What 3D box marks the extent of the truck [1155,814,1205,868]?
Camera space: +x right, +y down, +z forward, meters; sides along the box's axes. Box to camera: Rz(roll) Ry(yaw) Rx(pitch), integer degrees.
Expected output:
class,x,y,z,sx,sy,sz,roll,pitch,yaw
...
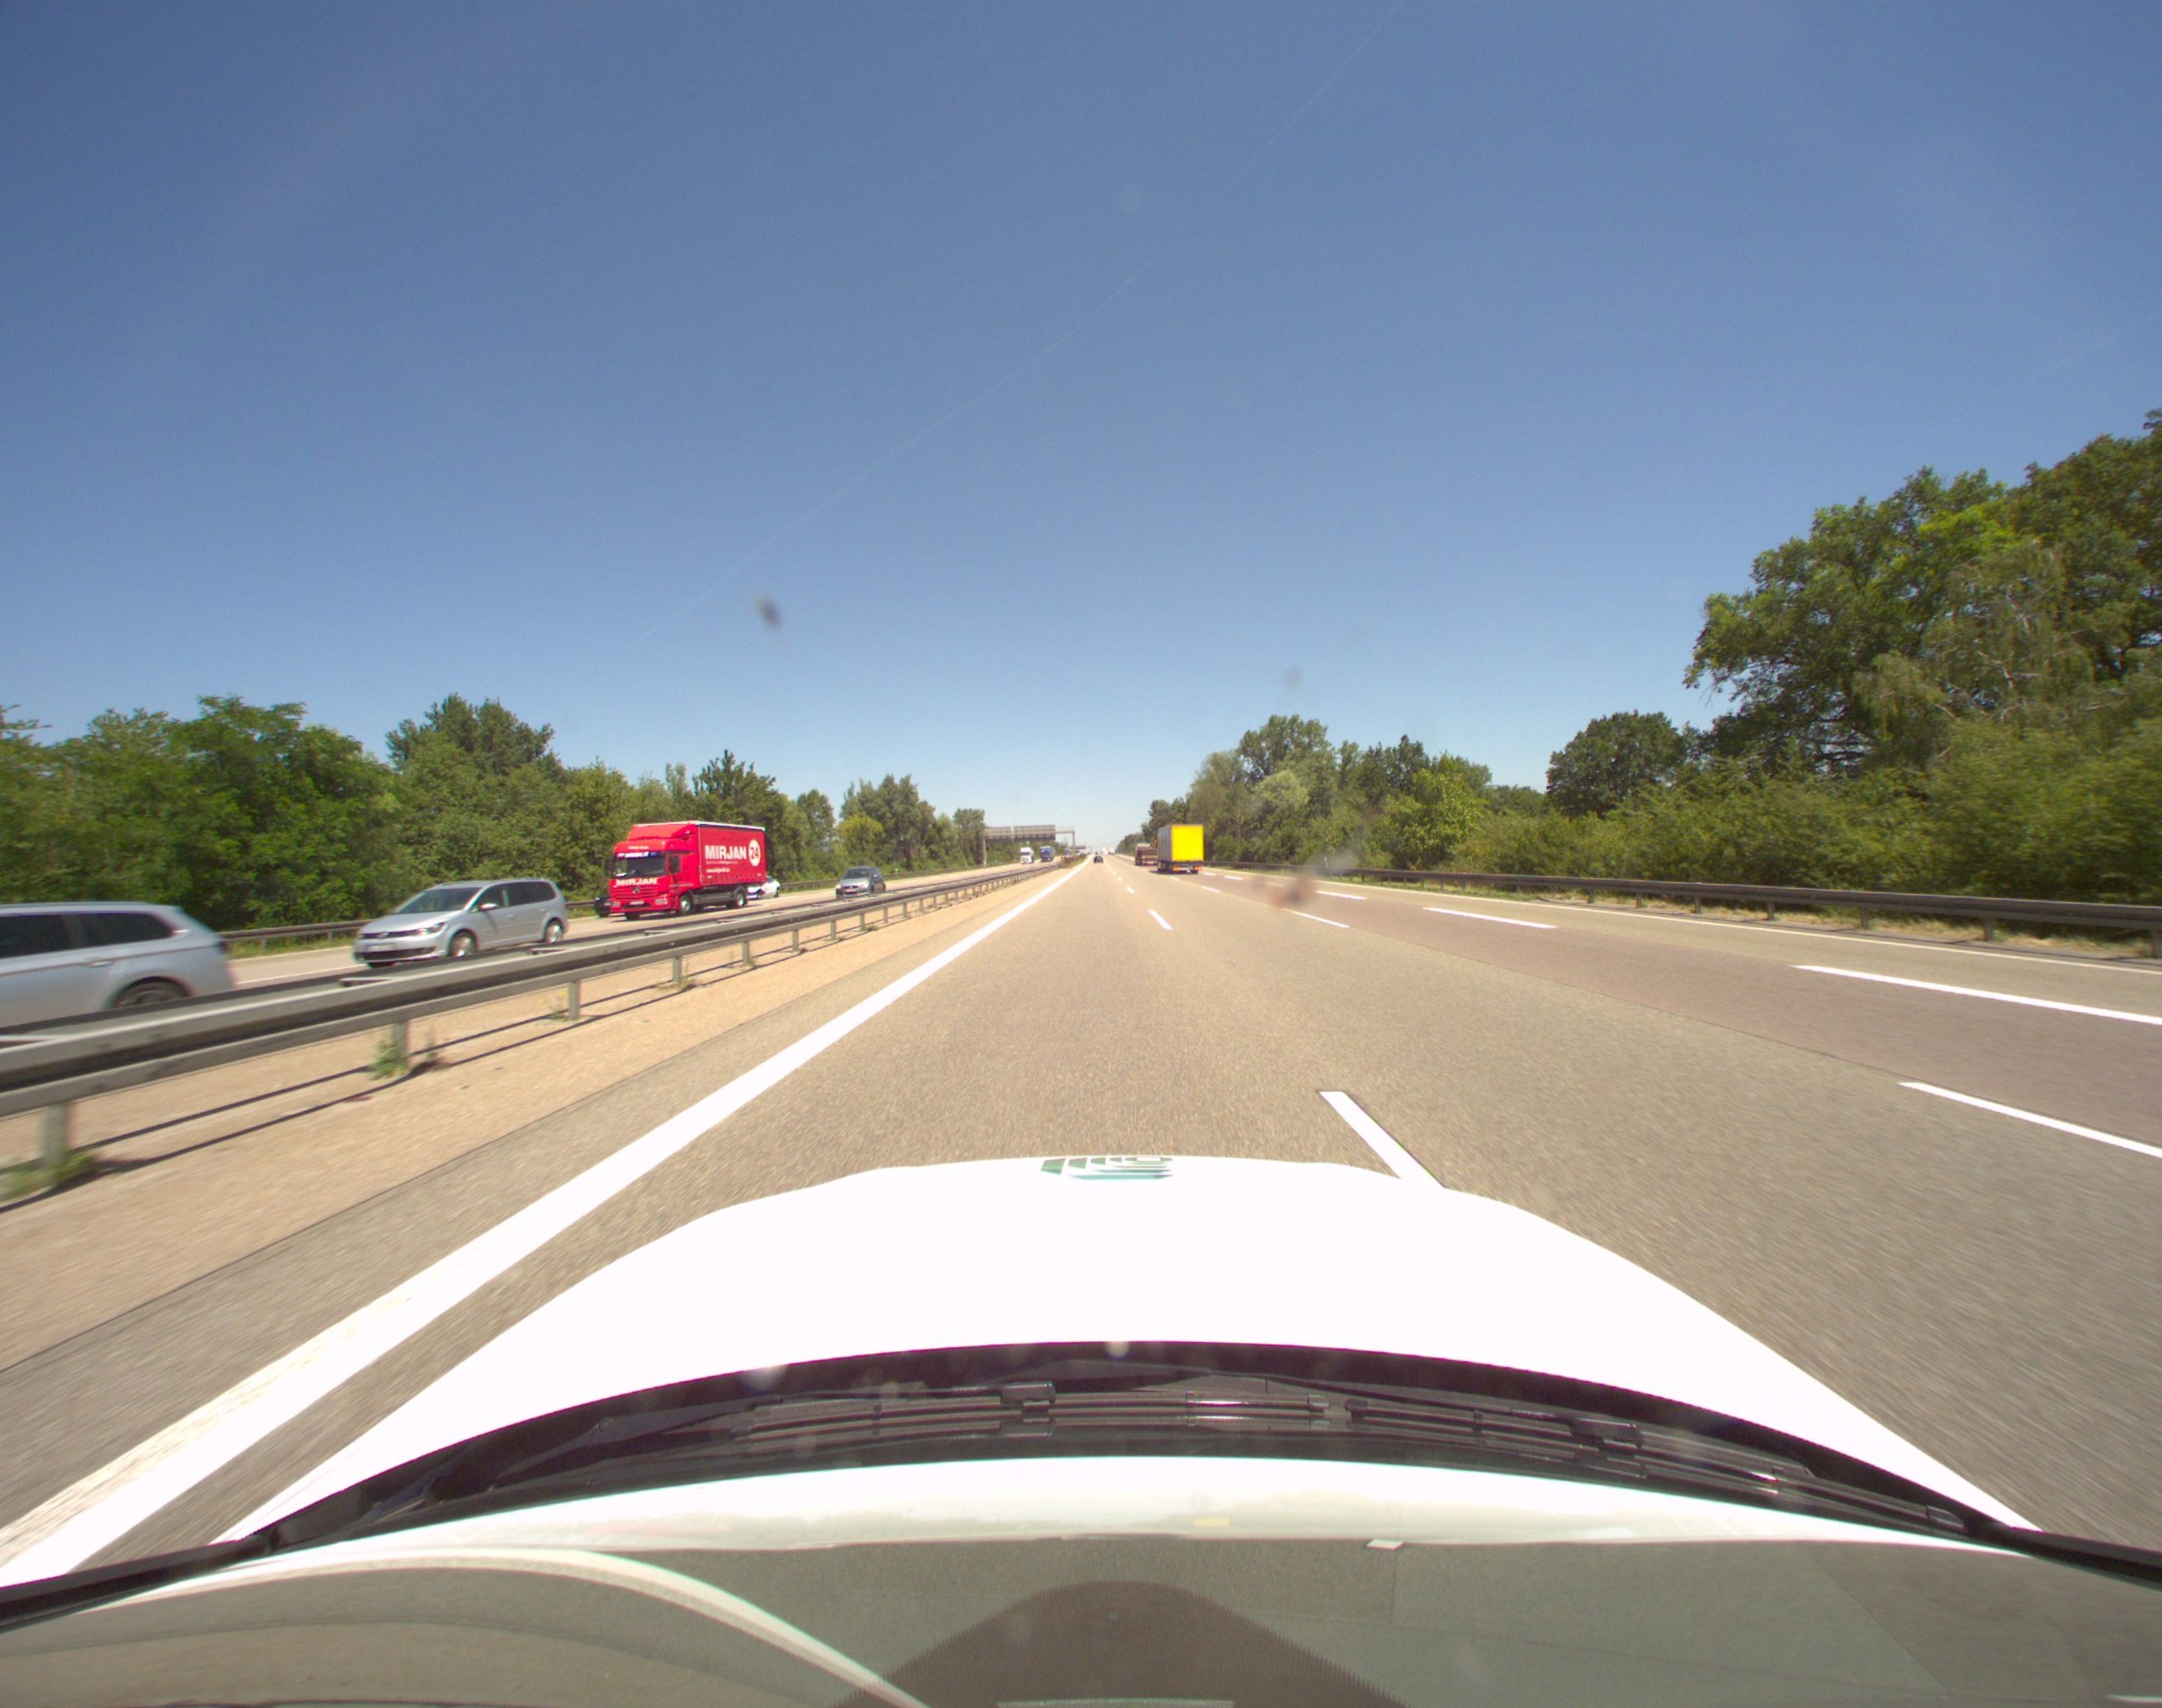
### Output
class,x,y,z,sx,sy,sz,roll,pitch,yaw
truck,8.710,-0.971,74.004,2.834,4.257,16.796,-2,0,2

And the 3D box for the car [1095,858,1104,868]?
class,x,y,z,sx,sy,sz,roll,pitch,yaw
car,3.584,1.749,157.542,1.785,2.014,3.888,-1,-1,1

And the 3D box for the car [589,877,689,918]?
class,x,y,z,sx,sy,sz,roll,pitch,yaw
car,-20.402,1.978,37.807,1.985,1.578,4.271,-4,0,4

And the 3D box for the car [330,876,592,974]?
class,x,y,z,sx,sy,sz,roll,pitch,yaw
car,-13.009,1.391,17.557,1.986,1.626,4.546,-3,0,2

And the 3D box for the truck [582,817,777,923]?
class,x,y,z,sx,sy,sz,roll,pitch,yaw
truck,-16.710,0.608,35.044,3.053,3.727,9.808,-4,0,1

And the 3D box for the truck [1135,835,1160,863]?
class,x,y,z,sx,sy,sz,roll,pitch,yaw
truck,10.042,-0.607,124.327,2.958,3.957,16.618,-1,0,2

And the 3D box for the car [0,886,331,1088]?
class,x,y,z,sx,sy,sz,roll,pitch,yaw
car,-9.856,1.175,6.903,1.986,1.552,5.226,-2,0,2

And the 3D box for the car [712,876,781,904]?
class,x,y,z,sx,sy,sz,roll,pitch,yaw
car,-20.428,2.155,49.949,1.986,1.412,4.975,-2,0,2

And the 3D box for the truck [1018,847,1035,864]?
class,x,y,z,sx,sy,sz,roll,pitch,yaw
truck,-14.105,0.329,213.015,2.945,4.018,15.822,-3,0,1

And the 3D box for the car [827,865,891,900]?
class,x,y,z,sx,sy,sz,roll,pitch,yaw
car,-10.668,1.349,39.472,1.889,1.506,4.117,-2,0,0

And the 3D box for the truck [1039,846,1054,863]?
class,x,y,z,sx,sy,sz,roll,pitch,yaw
truck,-9.559,0.148,226.179,2.945,4.245,17.183,-3,0,1

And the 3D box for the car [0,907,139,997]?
class,x,y,z,sx,sy,sz,roll,pitch,yaw
car,-20.698,1.910,14.586,1.986,1.509,4.722,-4,0,2
